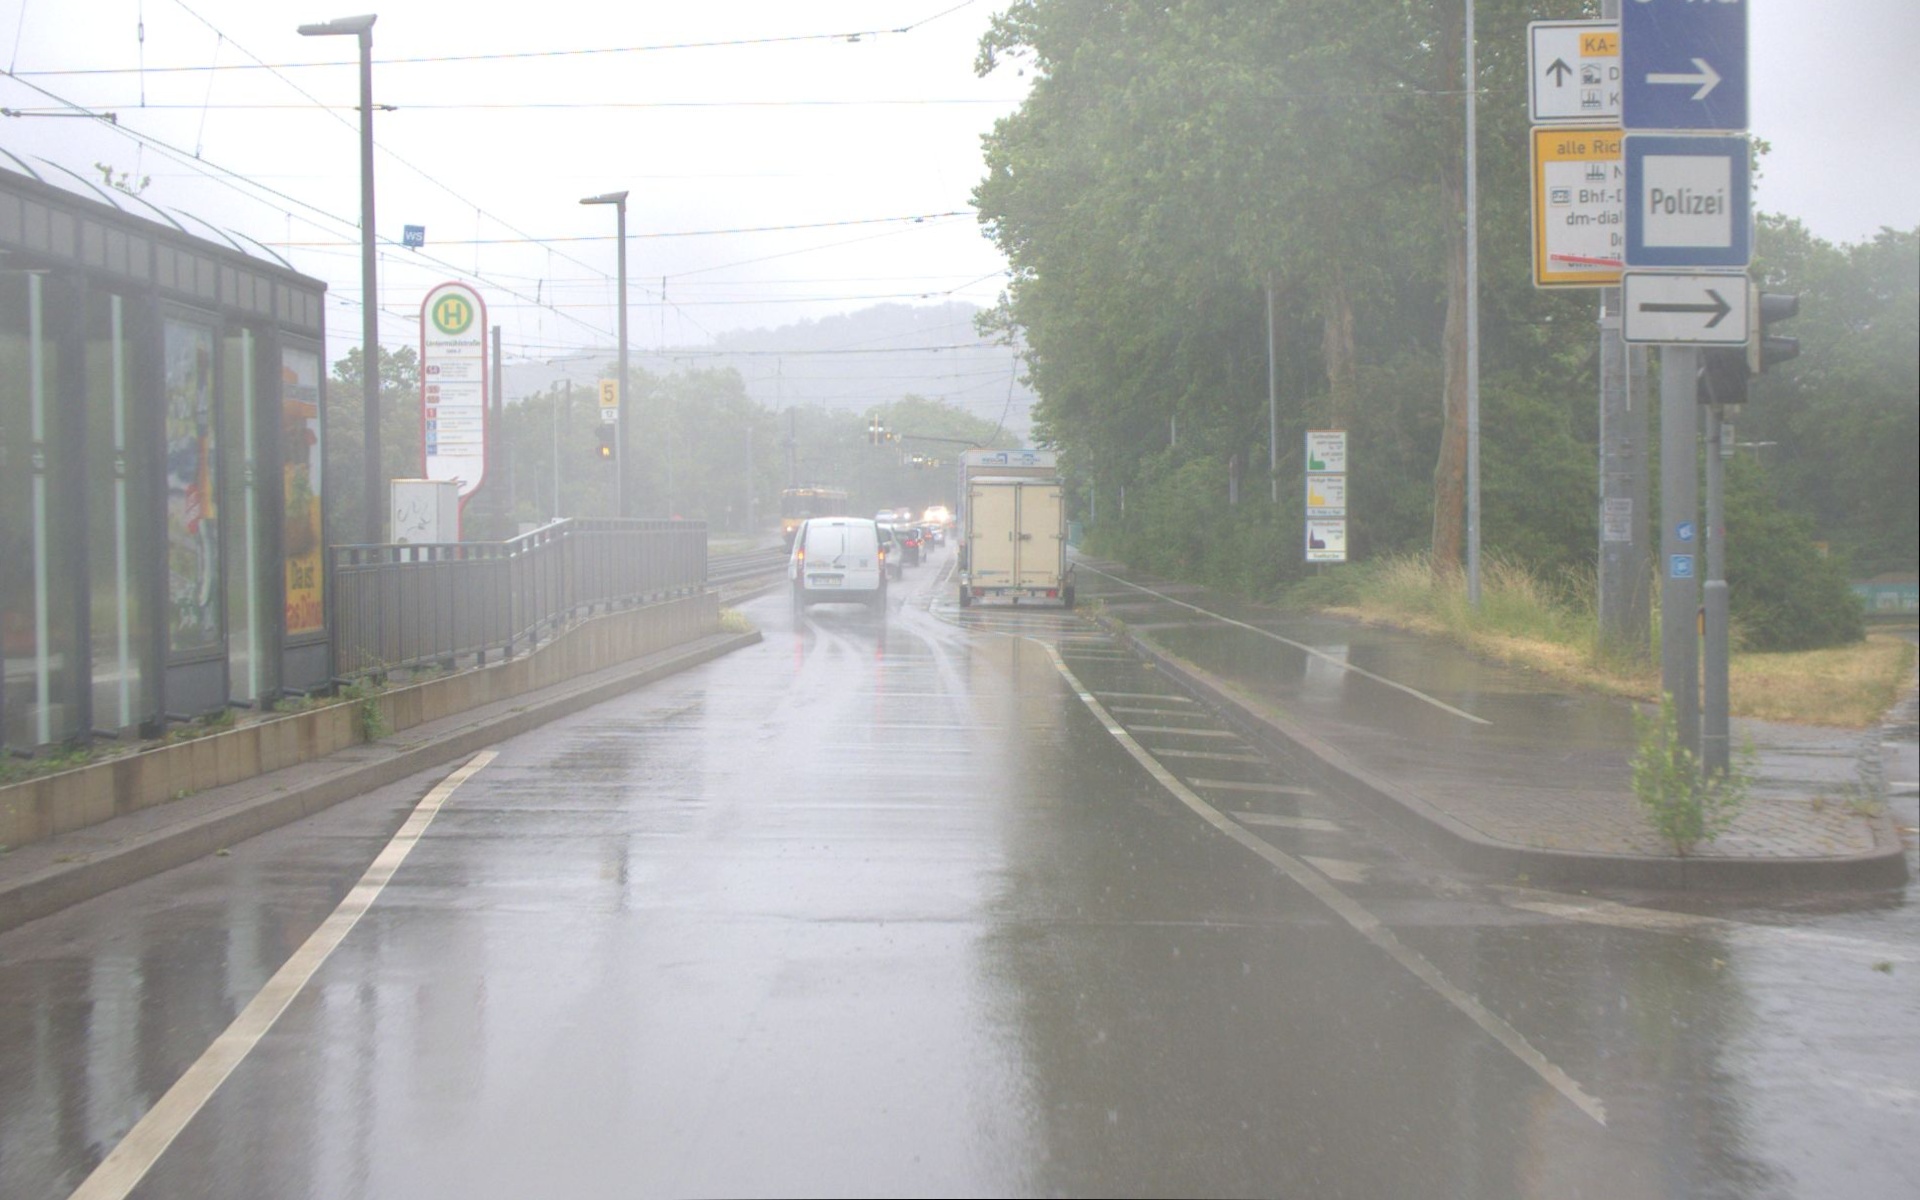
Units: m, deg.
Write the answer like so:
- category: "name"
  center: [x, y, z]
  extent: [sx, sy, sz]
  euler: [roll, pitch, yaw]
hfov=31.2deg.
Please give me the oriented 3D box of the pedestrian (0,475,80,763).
- category: "pedestrian"
  center: [-4.654, 0.079, 16.247]
  extent: [0.814, 1.336, 0.659]
  euler: [0, 1, 1]

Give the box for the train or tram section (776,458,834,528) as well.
- category: "train or tram section"
  center: [-9.417, -6.462, 209.534]
  extent: [2.806, 4.135, 13.020]
  euler: [0, 1, 1]

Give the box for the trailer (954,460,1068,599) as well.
- category: "trailer"
  center: [1.107, -1.434, 71.268]
  extent: [2.166, 2.748, 5.676]
  euler: [0, 1, 3]

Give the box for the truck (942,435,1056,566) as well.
- category: "truck"
  center: [1.088, -2.883, 102.464]
  extent: [2.775, 3.691, 9.853]
  euler: [0, 1, -3]

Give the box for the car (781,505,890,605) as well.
- category: "car"
  center: [-2.400, -0.875, 65.536]
  extent: [1.993, 1.842, 4.001]
  euler: [0, 1, -3]
